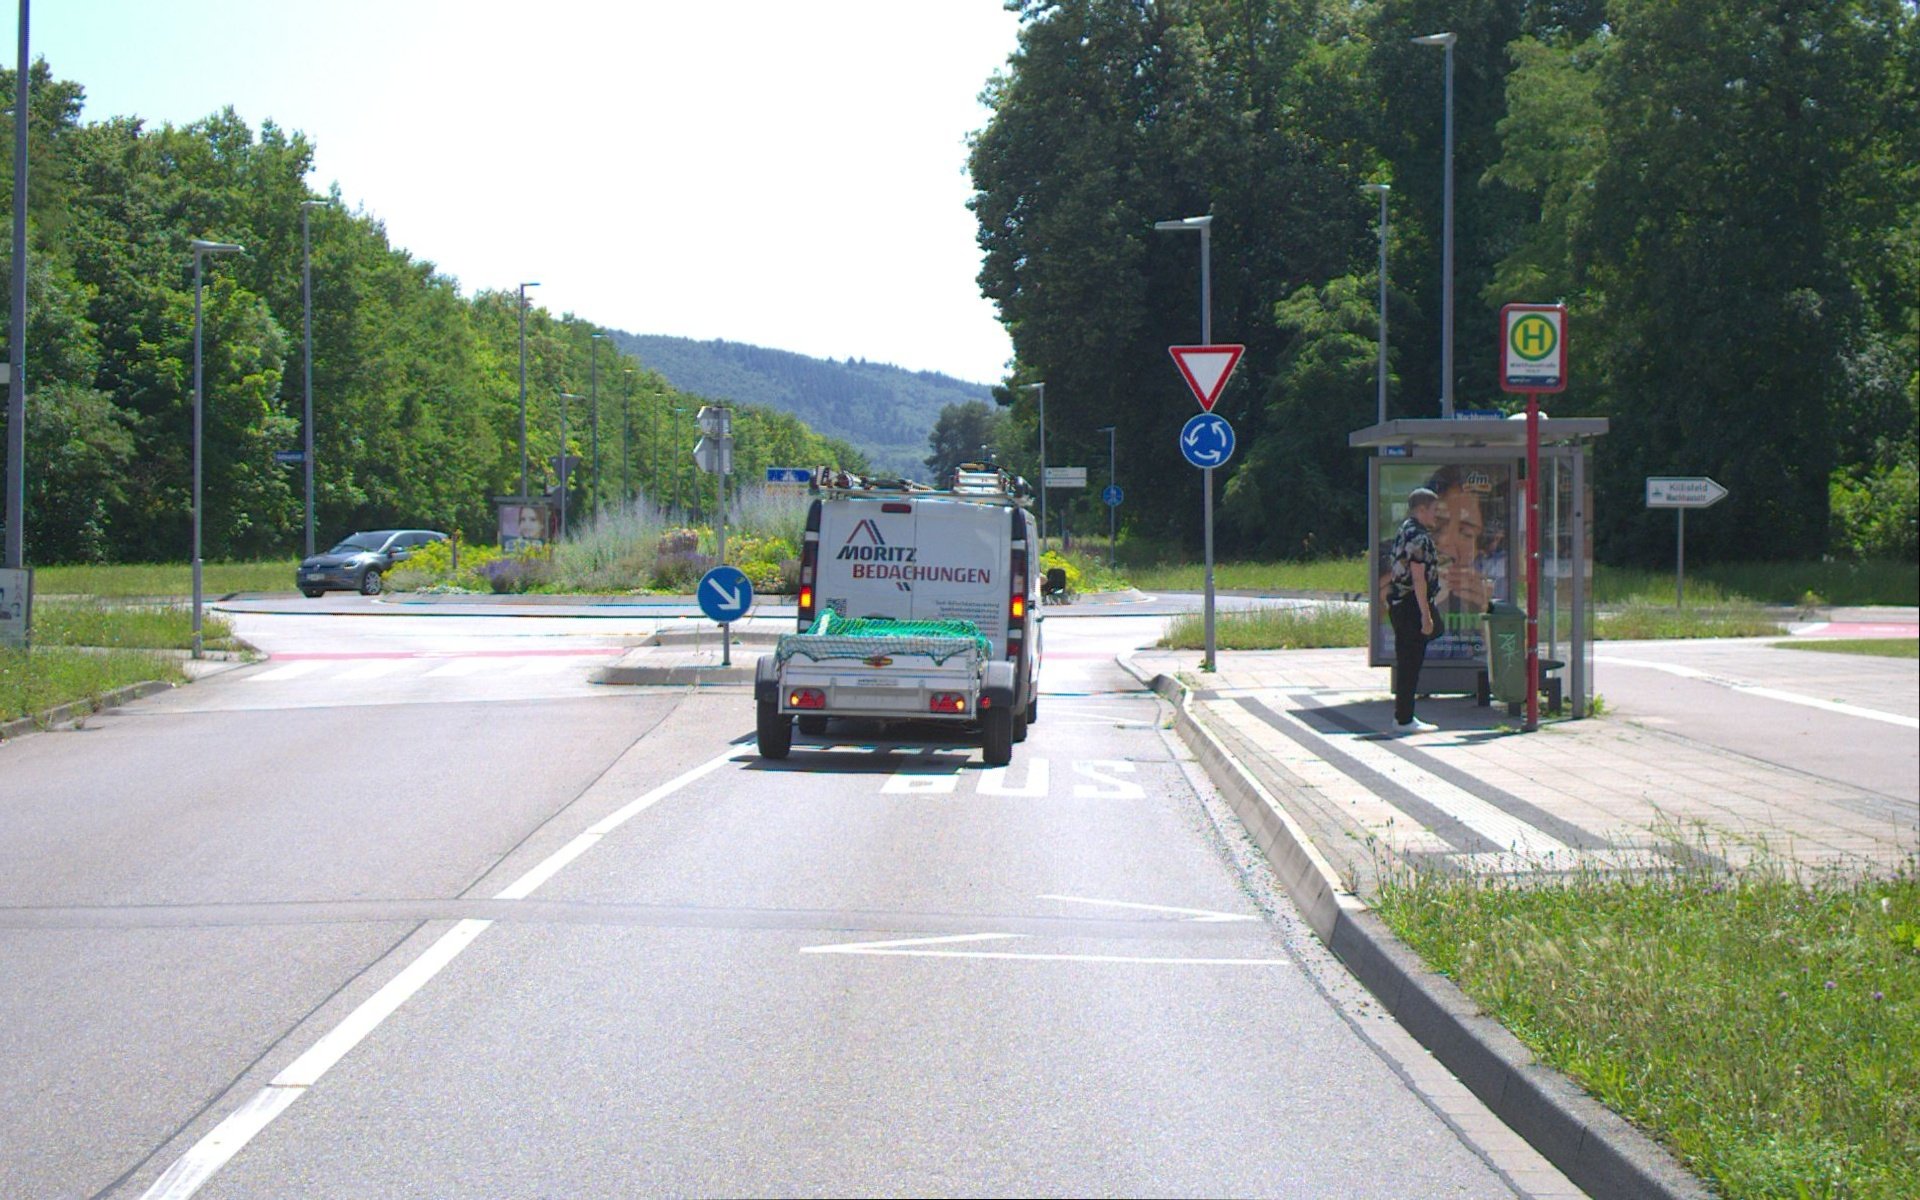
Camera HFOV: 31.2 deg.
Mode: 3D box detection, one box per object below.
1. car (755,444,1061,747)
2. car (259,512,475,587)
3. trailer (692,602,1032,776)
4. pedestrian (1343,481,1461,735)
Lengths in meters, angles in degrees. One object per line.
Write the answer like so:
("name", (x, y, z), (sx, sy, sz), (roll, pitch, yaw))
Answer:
("car", (-0.335, -0.066, 29.237), (2.166, 2.308, 4.981), (1, 1, 4))
("car", (-12.667, -1.099, 73.616), (1.998, 1.473, 4.279), (0, 2, 39))
("trailer", (-0.638, 0.603, 25.052), (2.122, 1.093, 3.354), (1, 1, 4))
("pedestrian", (3.250, 0.053, 25.343), (0.708, 1.816, 0.826), (-2, 1, 0))
